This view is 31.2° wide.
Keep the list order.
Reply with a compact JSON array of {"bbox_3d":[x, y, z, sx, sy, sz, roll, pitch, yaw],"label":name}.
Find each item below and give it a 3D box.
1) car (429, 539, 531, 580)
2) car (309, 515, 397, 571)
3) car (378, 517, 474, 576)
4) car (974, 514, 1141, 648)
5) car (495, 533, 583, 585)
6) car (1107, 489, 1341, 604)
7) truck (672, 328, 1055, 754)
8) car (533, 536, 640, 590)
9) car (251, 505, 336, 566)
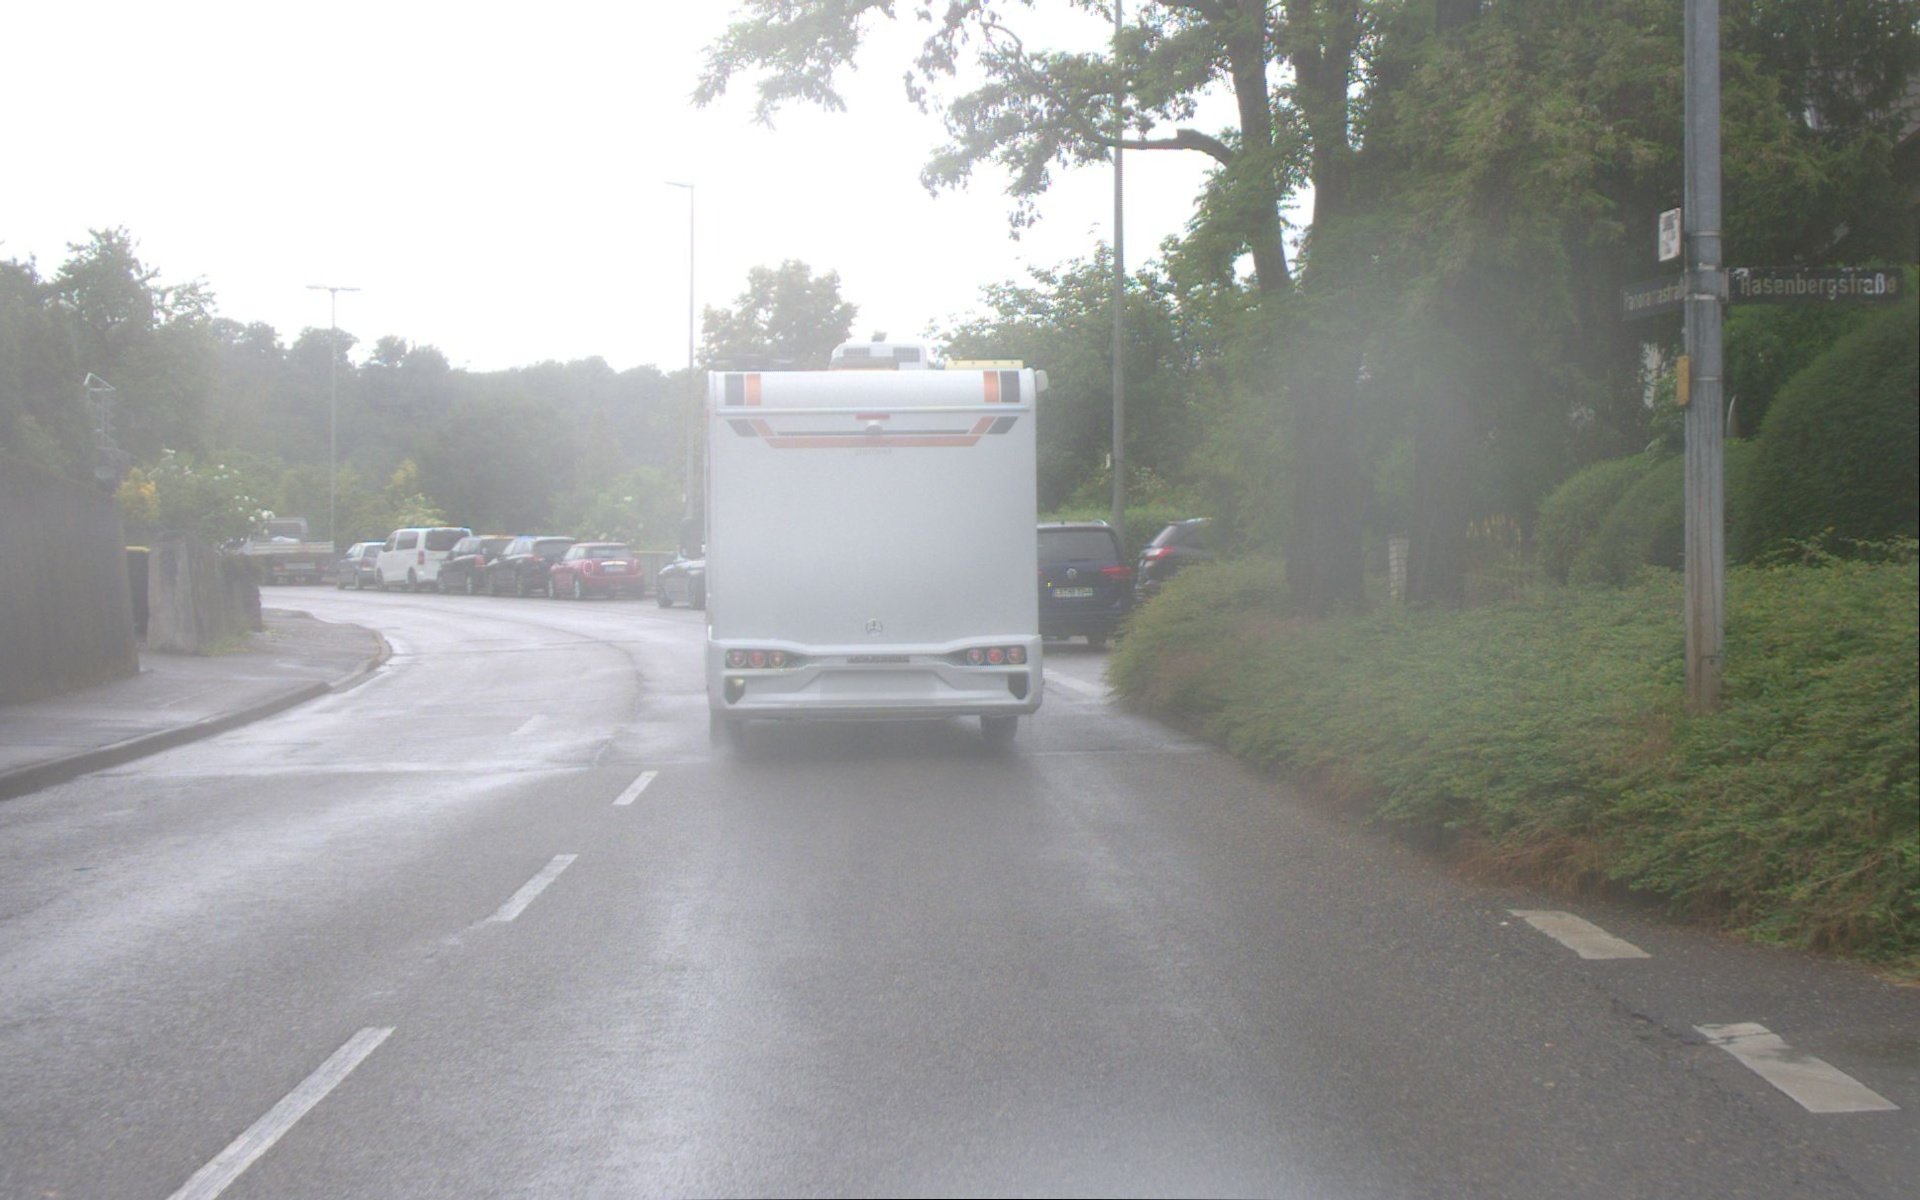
[{"bbox_3d":[-13.571,-1.158,97.016,1.645,1.097,4.001,0,1,-26],"label":"car"},{"bbox_3d":[-18.931,-1.787,107.084,1.645,1.714,4.001,0,1,-26],"label":"car"},{"bbox_3d":[-15.827,-1.592,101.733,1.645,1.714,4.001,0,1,-26],"label":"car"},{"bbox_3d":[1.213,-0.273,44.503,1.993,1.634,4.000,1,1,0],"label":"car"},{"bbox_3d":[-11.228,-1.103,91.495,1.539,1.322,4.001,0,1,-19],"label":"car"},{"bbox_3d":[4.465,-0.886,58.518,3.623,1.658,2.000,3,-2,-4],"label":"car"},{"bbox_3d":[-0.839,-0.442,25.958,2.515,2.808,6.202,1,1,-4],"label":"truck"},{"bbox_3d":[-9.442,-0.940,86.754,1.540,1.322,3.865,0,1,-25],"label":"car"},{"bbox_3d":[-22.884,-2.233,117.941,1.739,2.037,4.515,0,1,-26],"label":"car"}]
